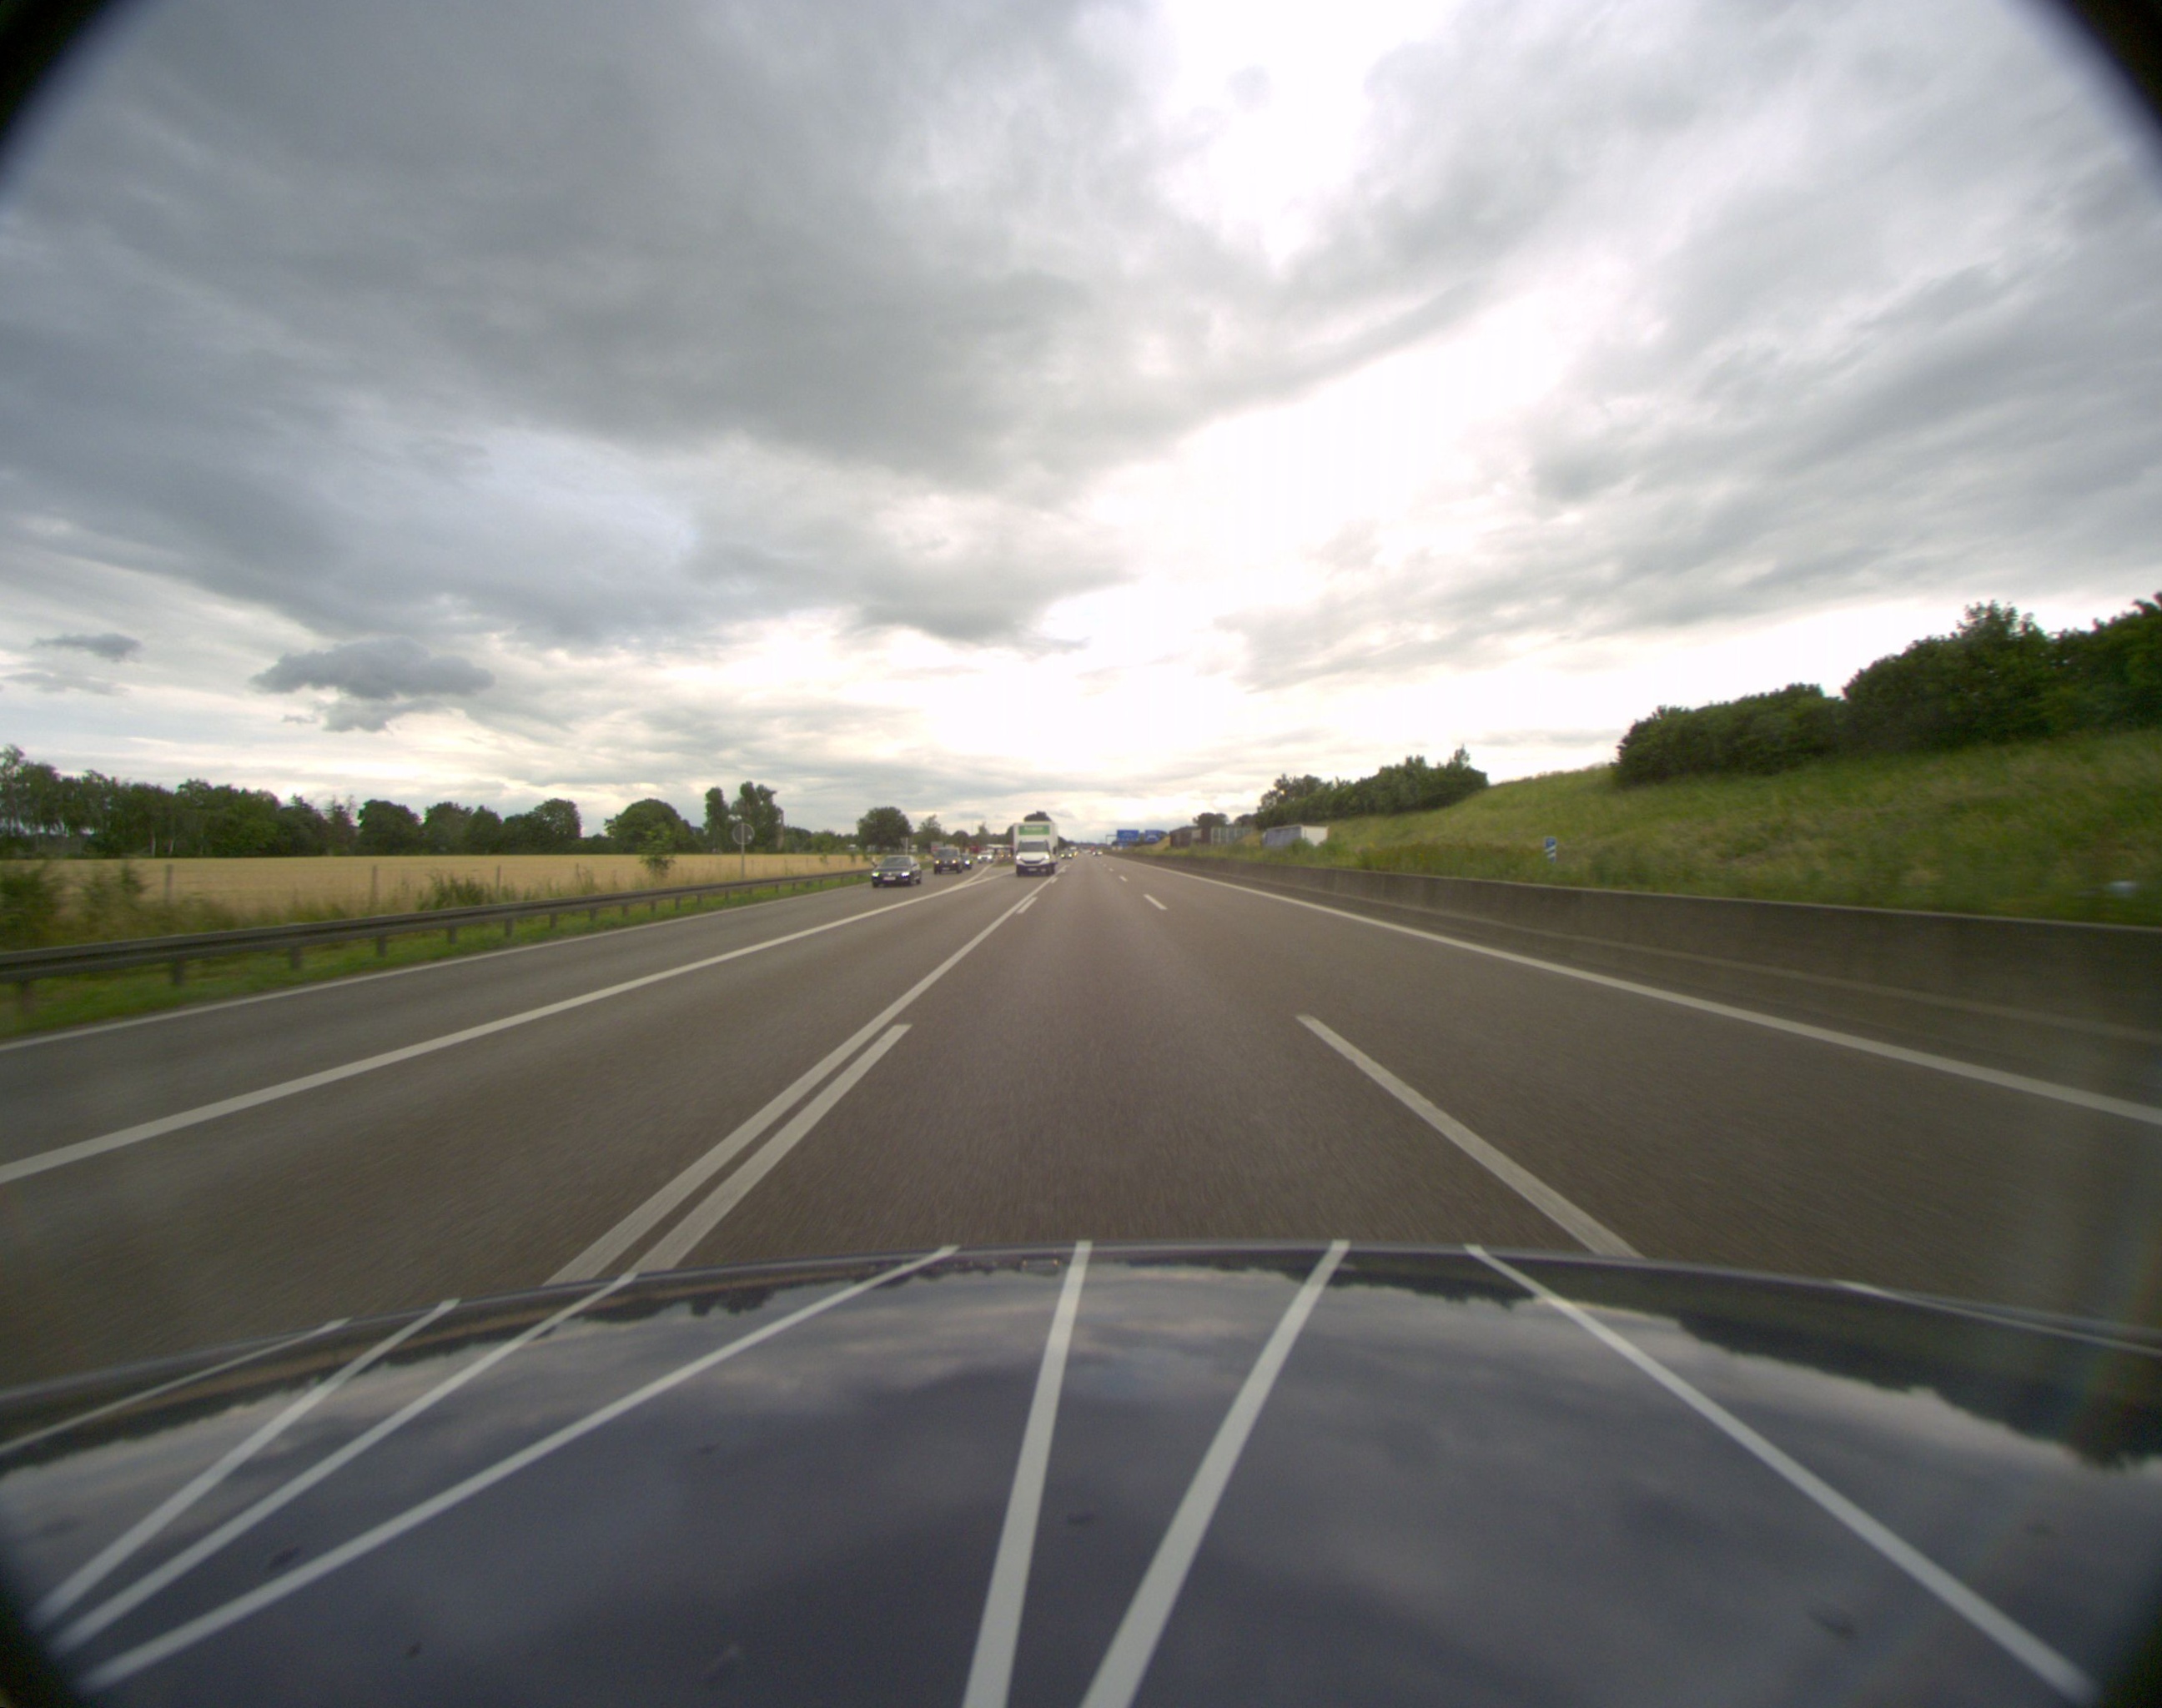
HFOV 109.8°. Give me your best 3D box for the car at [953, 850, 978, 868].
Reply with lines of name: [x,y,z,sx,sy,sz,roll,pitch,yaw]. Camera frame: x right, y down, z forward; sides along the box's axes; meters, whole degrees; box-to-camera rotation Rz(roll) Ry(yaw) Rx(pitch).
car: [-10.603,0.390,69.888,1.755,1.476,4.591,-3,1,-3]

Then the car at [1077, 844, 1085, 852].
car: [-0.090,-1.530,193.891,1.998,2.002,3.999,-1,1,0]

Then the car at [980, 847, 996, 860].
car: [-13.718,-0.099,112.324,1.833,1.747,5.063,-1,1,-2]

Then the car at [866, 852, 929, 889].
car: [-8.743,0.735,36.576,1.923,1.541,4.922,-1,1,-1]

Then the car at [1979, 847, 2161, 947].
car: [17.074,0.656,11.210,1.731,1.476,4.922,-1,1,-2]

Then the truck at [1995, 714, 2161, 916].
truck: [21.043,-0.650,9.769,3.005,3.663,13.005,-2,1,1]

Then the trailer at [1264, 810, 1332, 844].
trailer: [21.521,-2.609,76.465,2.928,2.939,13.967,-3,1,1]

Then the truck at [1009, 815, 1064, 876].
truck: [-2.720,-0.582,49.057,2.777,3.484,9.060,-2,1,0]

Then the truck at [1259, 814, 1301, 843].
truck: [21.603,-2.747,82.955,2.917,2.929,6.114,-3,1,1]

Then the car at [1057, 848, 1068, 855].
car: [-3.154,-0.455,133.052,1.781,1.180,3.999,-1,1,0]

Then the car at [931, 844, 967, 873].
car: [-9.931,0.301,57.552,2.150,2.051,4.955,-2,1,-5]
